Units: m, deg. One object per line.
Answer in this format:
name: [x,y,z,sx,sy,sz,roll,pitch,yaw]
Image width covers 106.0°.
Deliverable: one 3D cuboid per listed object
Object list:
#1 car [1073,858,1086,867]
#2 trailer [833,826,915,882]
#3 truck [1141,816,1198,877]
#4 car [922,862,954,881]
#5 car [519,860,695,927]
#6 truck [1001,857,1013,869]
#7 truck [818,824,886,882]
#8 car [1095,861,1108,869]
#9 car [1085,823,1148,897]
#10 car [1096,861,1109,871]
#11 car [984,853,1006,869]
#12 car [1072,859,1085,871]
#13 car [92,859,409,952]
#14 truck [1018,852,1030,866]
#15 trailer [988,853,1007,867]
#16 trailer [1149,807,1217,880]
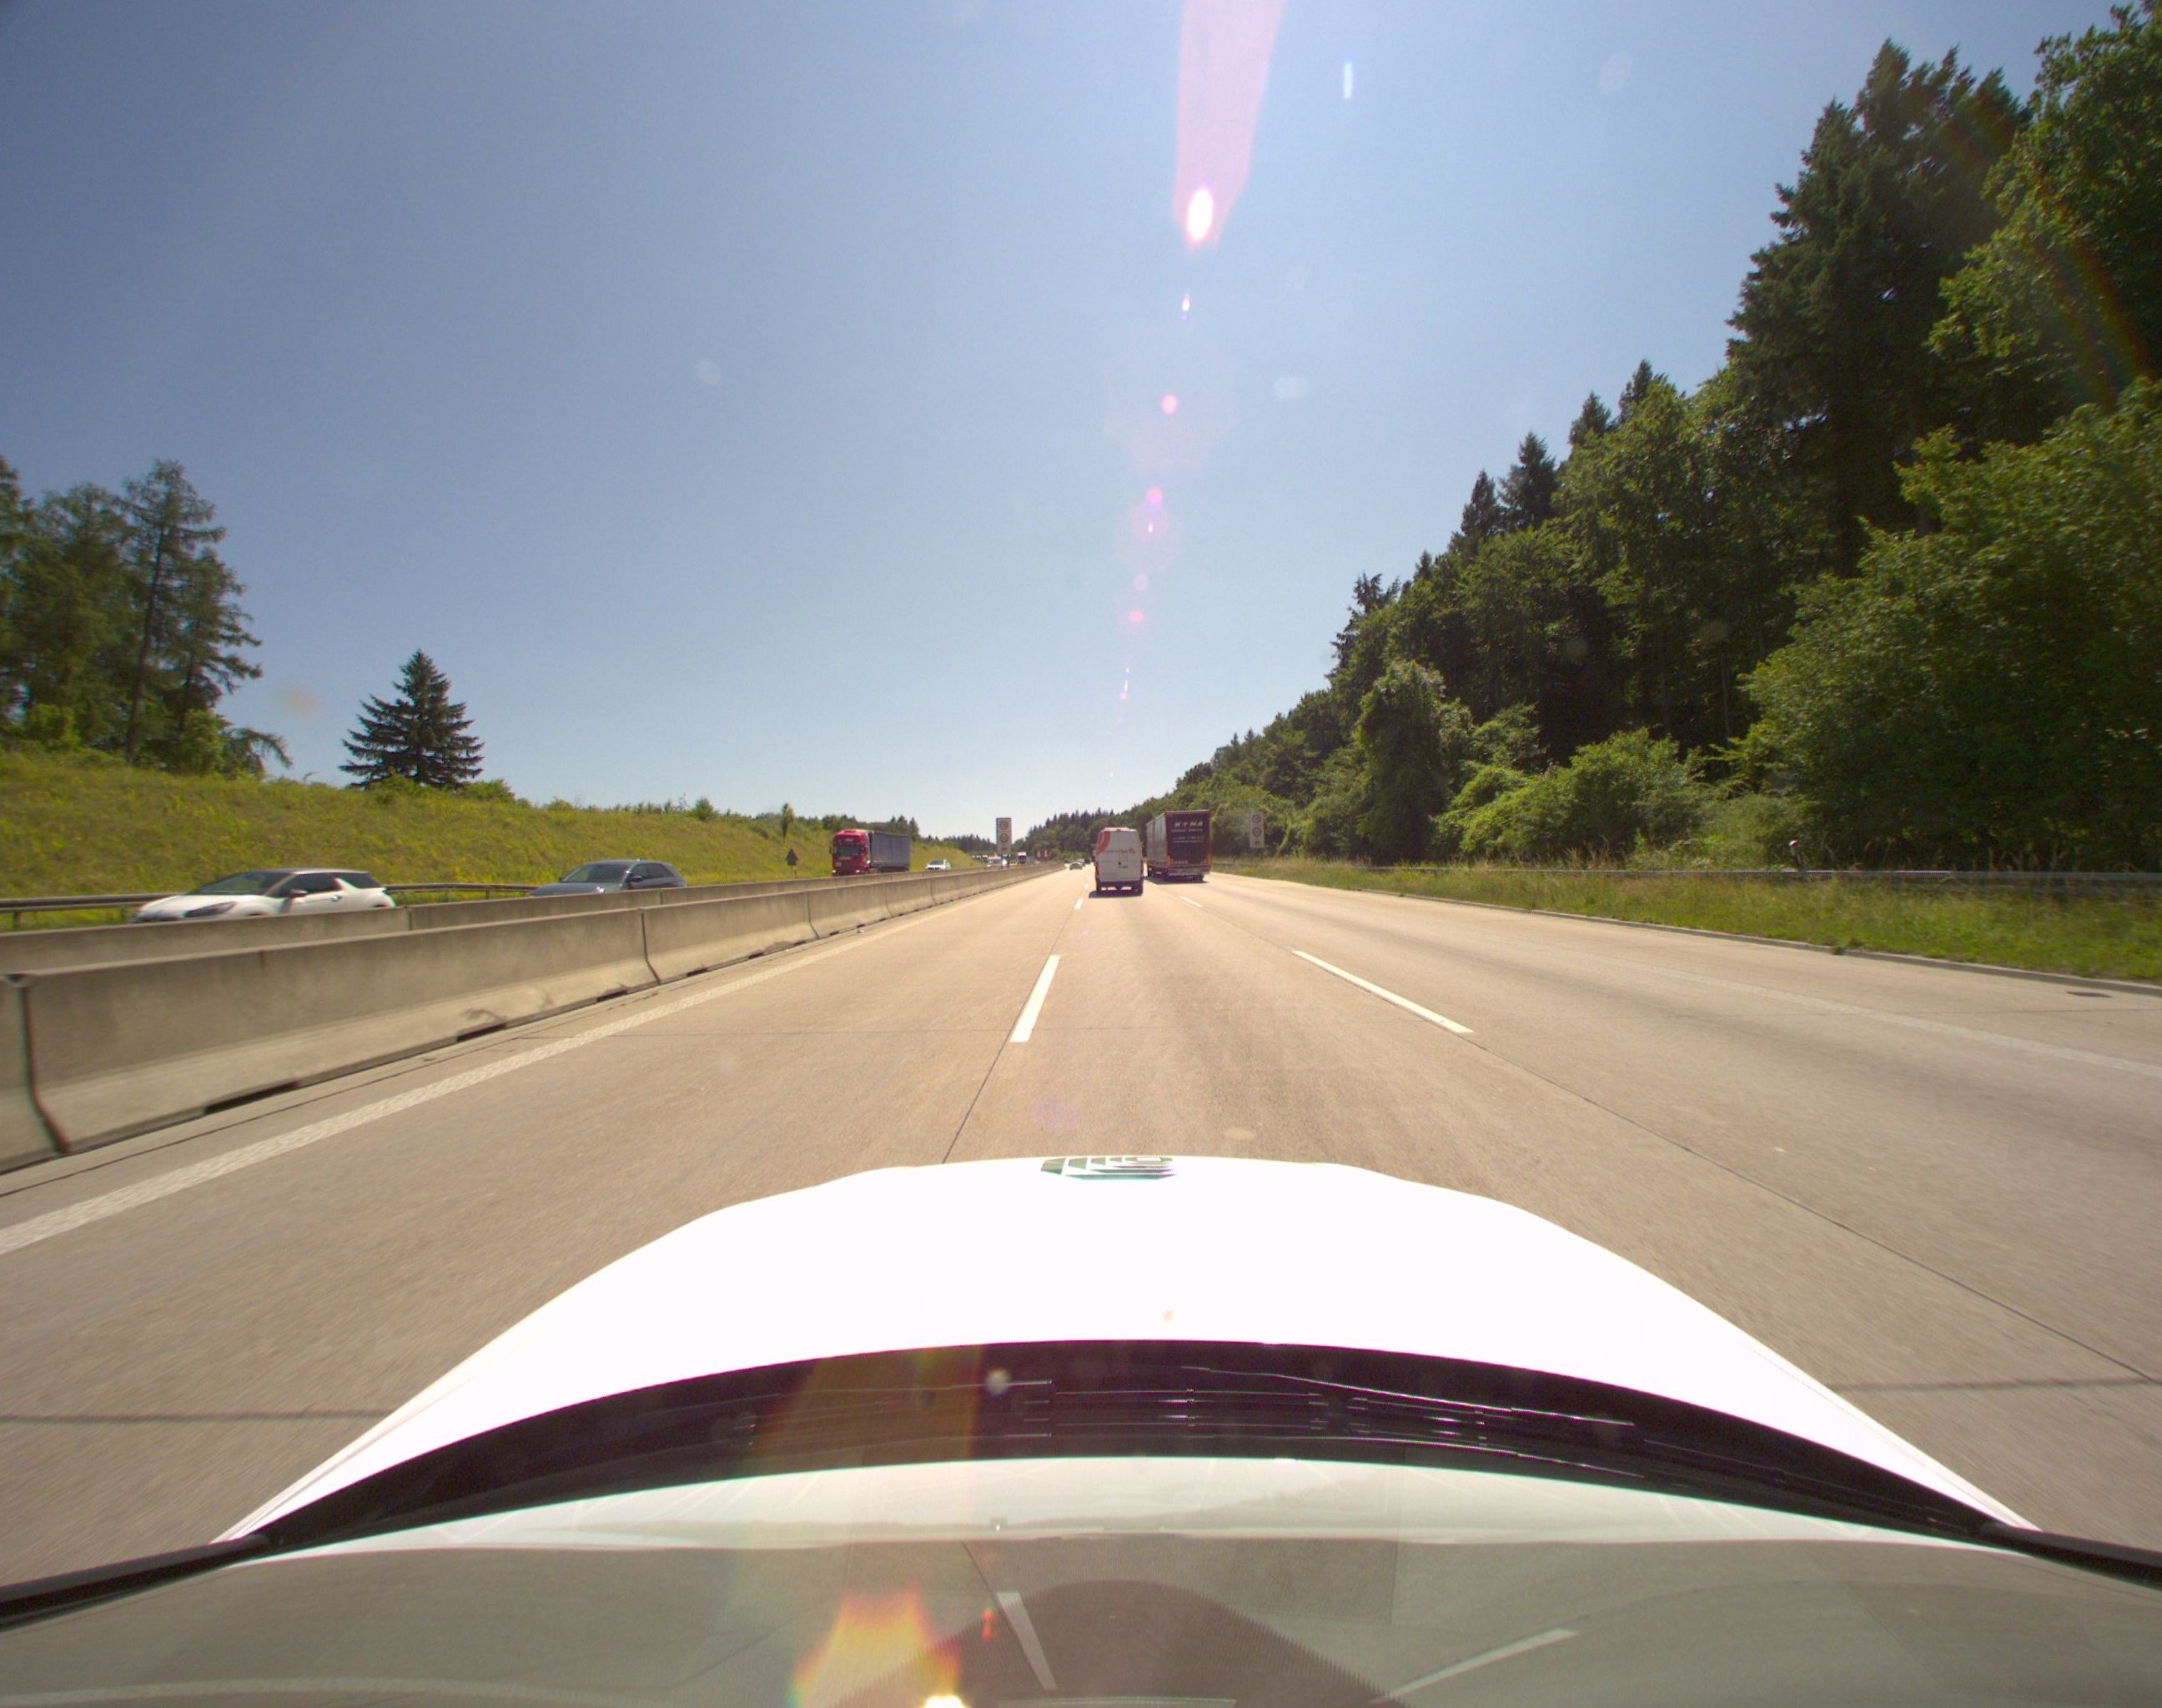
car: [-0.353,1.561,156.571,1.992,1.684,3.989,0,-1,-7]
trailer: [-18.088,0.103,72.520,3.374,4.431,13.926,-1,-1,1]
truck: [6.351,-0.467,60.153,3.148,4.017,10.610,-2,-1,1]
car: [-13.389,1.602,76.614,1.986,1.692,4.817,-1,0,1]
car: [-11.988,0.930,20.981,1.986,1.538,4.197,0,0,1]
truck: [-19.924,2.426,219.755,2.716,3.413,4.512,0,-1,1]
truck: [-18.256,-0.018,65.473,3.375,4.431,6.802,-1,-1,1]
car: [4.173,2.218,164.474,1.992,1.684,3.990,0,-1,-7]
car: [1.403,0.230,34.864,2.220,2.844,5.450,-2,0,-2]
car: [3.542,1.973,133.586,1.986,1.684,4.001,-1,-1,1]
car: [-9.659,0.778,91.717,1.986,1.692,4.372,-1,0,1]
car: [-0.365,1.623,119.587,1.987,1.684,3.999,0,-1,0]
car: [-15.726,0.883,15.806,1.986,1.564,4.001,0,0,1]
truck: [-16.394,1.548,235.896,3.152,3.932,5.833,0,-1,-1]
trailer: [-16.219,1.128,158.968,2.596,2.631,7.783,-1,0,1]
trailer: [6.129,-0.548,50.324,3.123,4.017,9.090,-2,-1,1]
